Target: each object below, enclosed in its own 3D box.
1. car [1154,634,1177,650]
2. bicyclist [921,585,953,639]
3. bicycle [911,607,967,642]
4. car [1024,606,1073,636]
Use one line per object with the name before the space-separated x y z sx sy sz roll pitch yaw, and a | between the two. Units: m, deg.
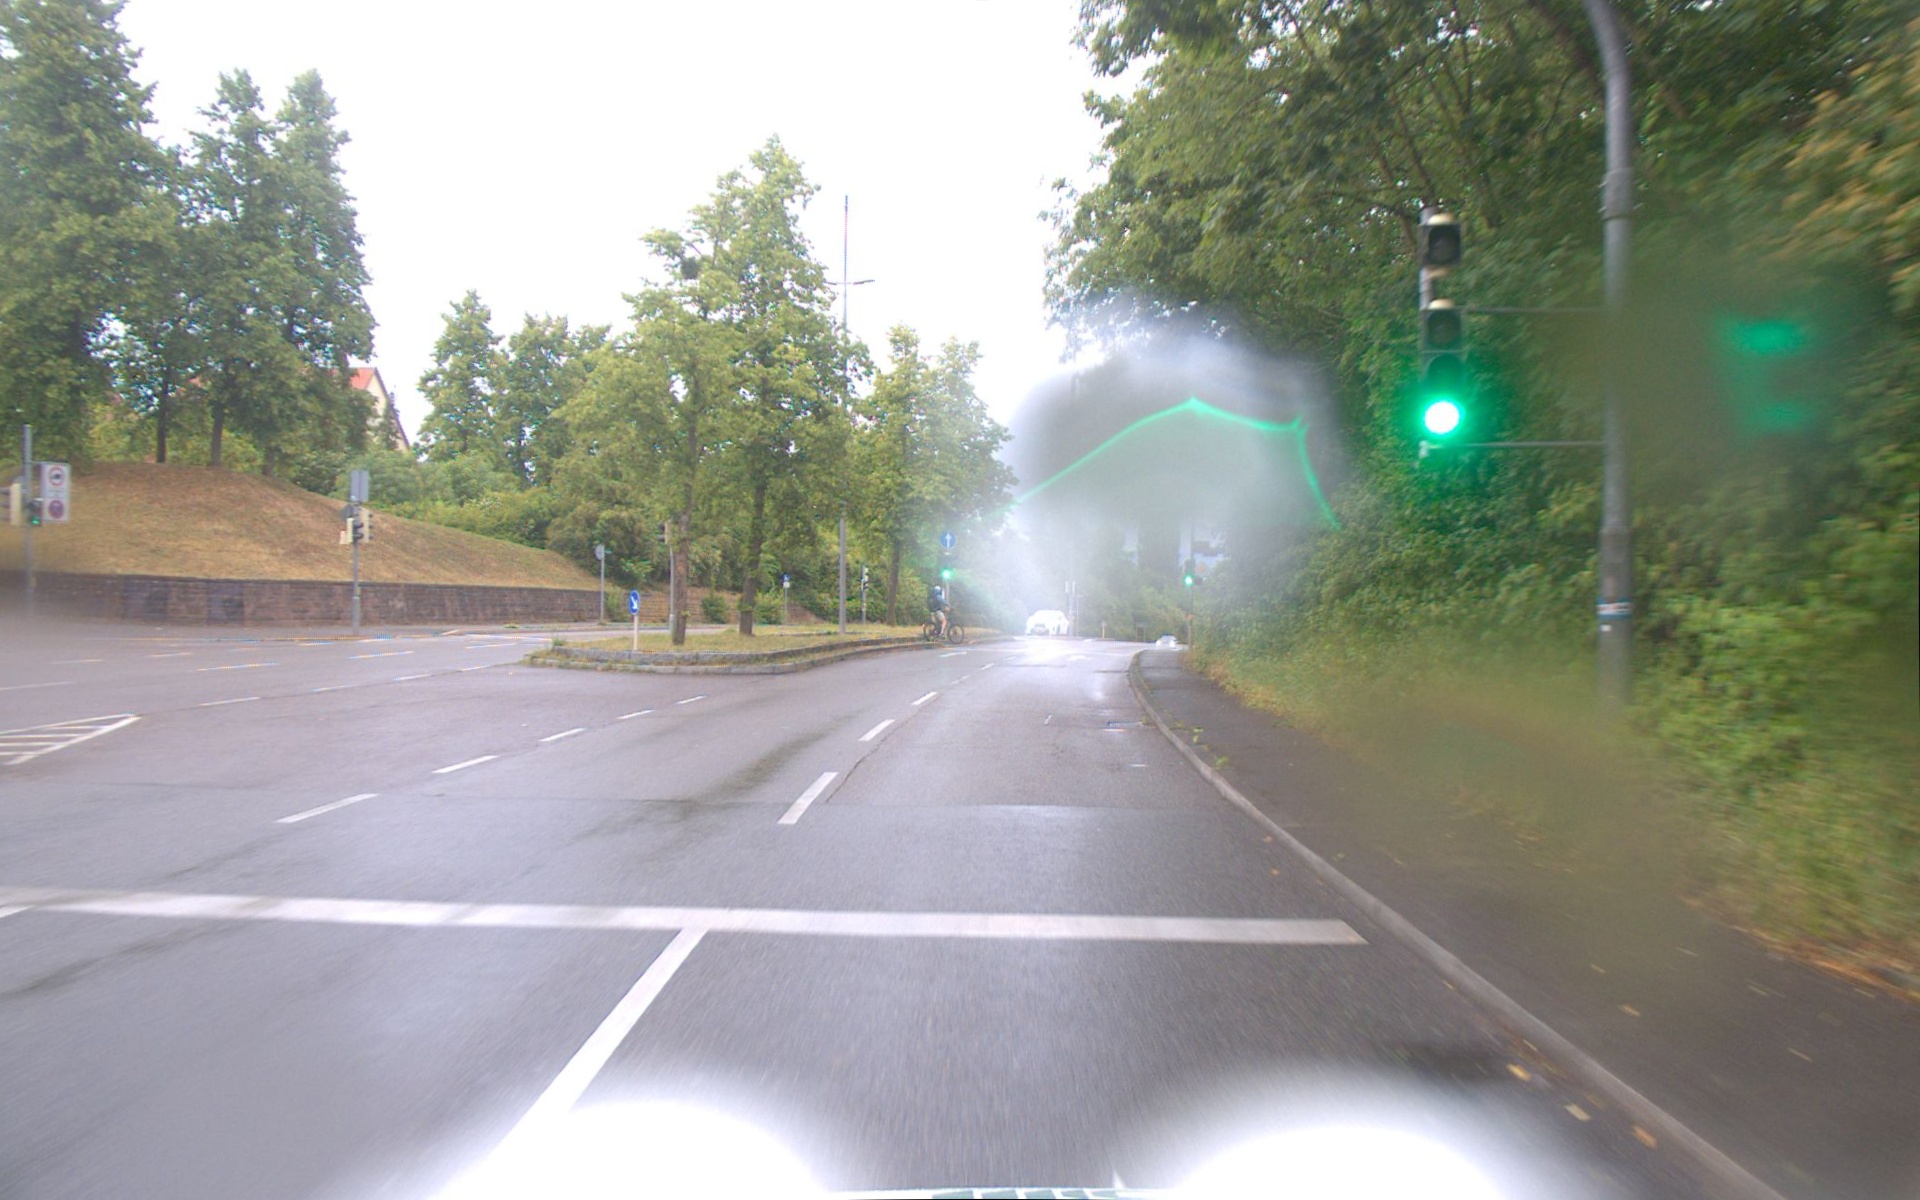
car | 20.932 4.270 168.360 1.740 1.498 4.648 2 -2 13
bicyclist | -0.776 0.404 55.772 0.713 1.783 0.795 -3 -4 45
bicycle | -0.692 0.833 55.868 0.545 1.163 2.125 1 -1 44
car | 5.475 1.306 101.802 1.904 1.664 5.008 1 -1 15
